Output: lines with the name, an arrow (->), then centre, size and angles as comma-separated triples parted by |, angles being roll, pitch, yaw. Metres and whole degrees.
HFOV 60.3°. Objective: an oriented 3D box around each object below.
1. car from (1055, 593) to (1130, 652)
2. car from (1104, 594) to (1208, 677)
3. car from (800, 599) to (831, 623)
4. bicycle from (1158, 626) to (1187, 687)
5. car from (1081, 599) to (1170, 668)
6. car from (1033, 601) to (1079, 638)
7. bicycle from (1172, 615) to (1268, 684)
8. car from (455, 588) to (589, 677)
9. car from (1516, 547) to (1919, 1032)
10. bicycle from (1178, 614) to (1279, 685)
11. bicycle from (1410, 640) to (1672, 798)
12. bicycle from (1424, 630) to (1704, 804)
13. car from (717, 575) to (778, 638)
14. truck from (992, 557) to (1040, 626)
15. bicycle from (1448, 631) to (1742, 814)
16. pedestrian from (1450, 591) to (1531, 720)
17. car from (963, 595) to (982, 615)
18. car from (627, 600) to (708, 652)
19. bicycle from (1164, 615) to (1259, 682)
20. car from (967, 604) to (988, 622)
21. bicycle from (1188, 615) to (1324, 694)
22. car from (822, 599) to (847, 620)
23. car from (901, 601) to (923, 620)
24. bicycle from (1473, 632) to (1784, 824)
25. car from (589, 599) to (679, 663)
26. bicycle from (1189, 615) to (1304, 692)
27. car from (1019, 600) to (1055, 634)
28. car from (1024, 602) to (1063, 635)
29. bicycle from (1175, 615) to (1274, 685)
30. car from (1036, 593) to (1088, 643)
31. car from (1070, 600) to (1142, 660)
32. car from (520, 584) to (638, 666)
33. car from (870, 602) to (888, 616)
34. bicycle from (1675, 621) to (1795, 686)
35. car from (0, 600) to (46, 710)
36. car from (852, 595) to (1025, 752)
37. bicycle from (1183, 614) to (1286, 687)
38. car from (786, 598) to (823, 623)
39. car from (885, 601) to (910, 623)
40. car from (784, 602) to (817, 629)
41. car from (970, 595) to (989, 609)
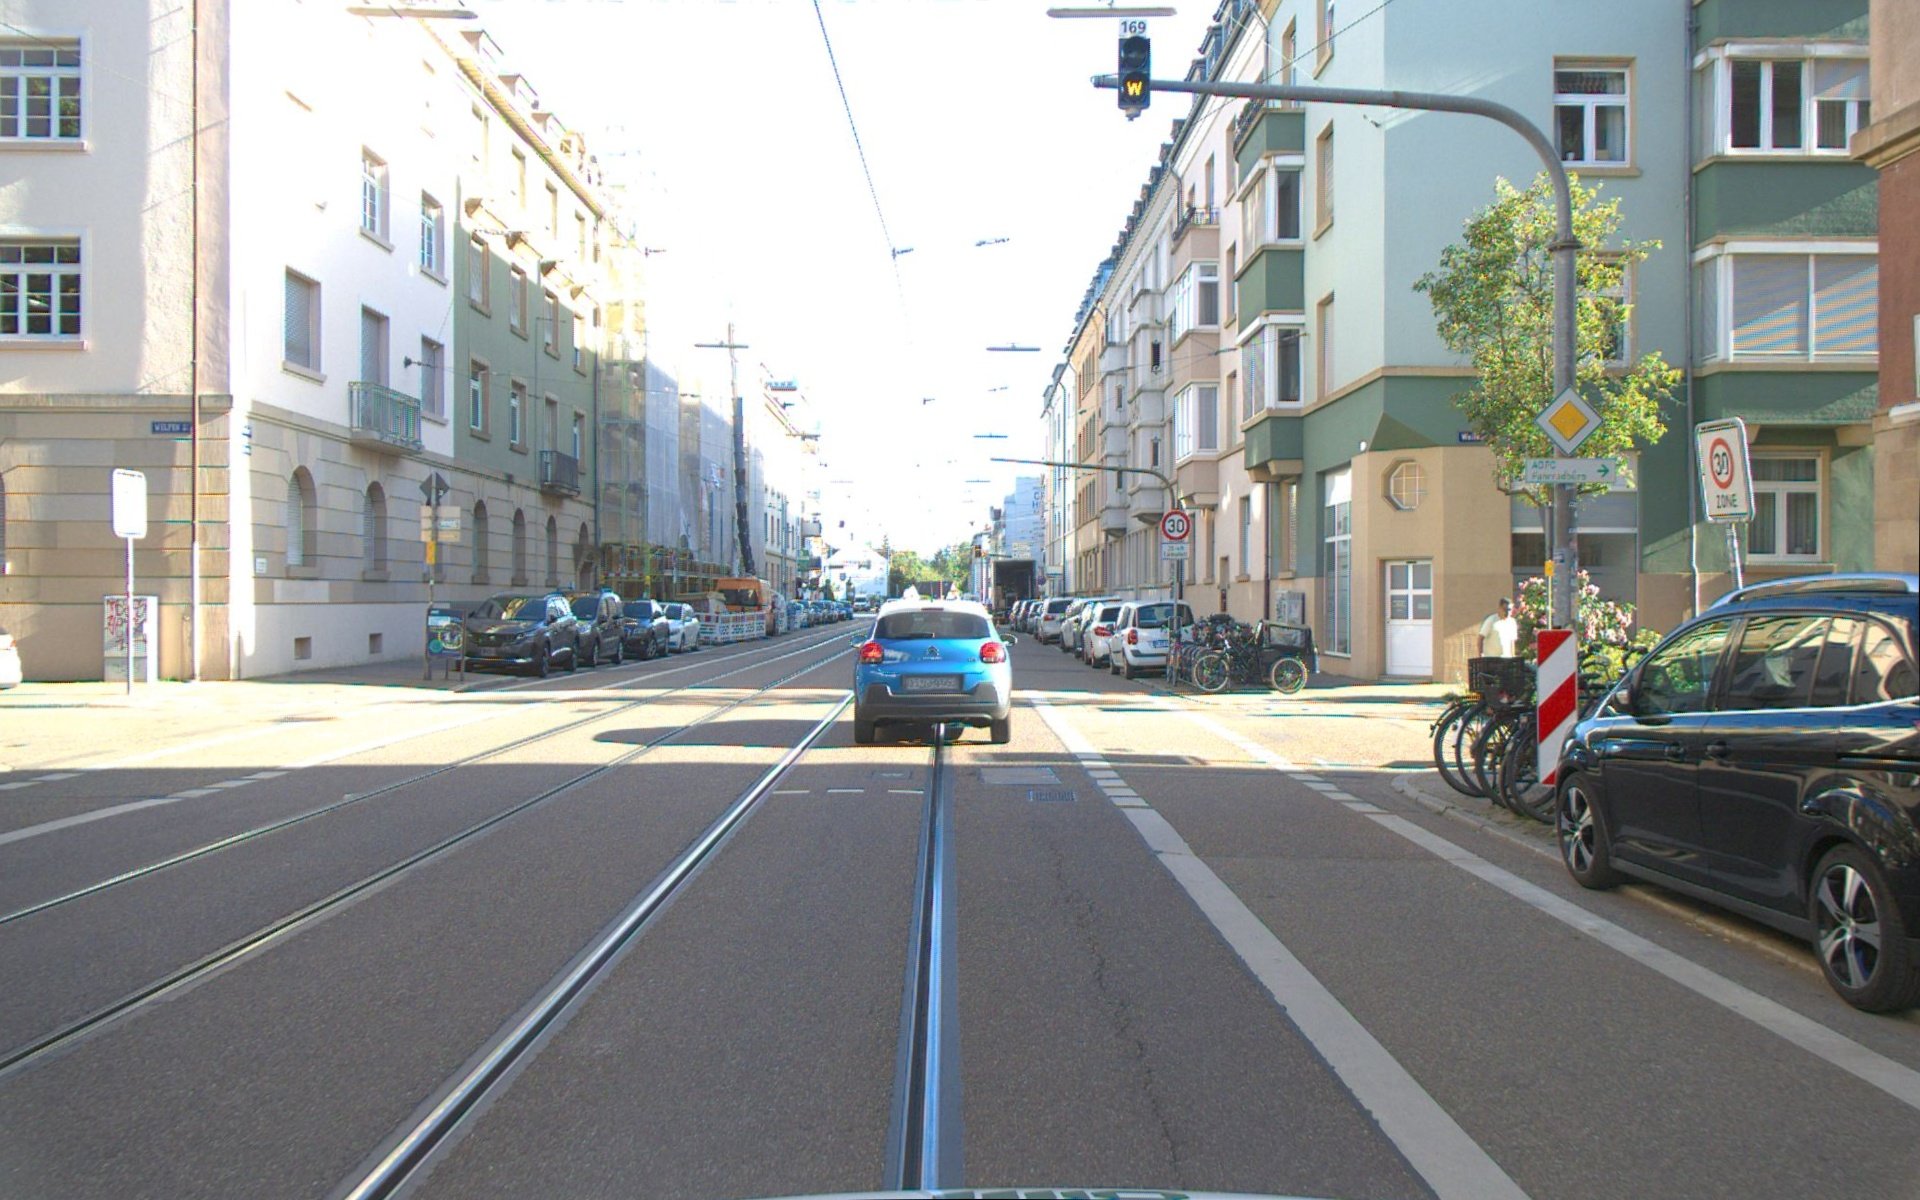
car -> 4.126, 0.687, 52.075 | 1.622, 1.782, 4.598 | 0, 0, -5
car -> 4.111, 0.708, 35.247 | 1.747, 1.660, 4.000 | 0, 0, 0
car -> -10.148, 0.749, 116.510 | 1.788, 1.660, 4.848 | 0, 0, 0
bicycle -> 3.887, 1.018, 30.367 | 0.345, 1.063, 1.728 | 0, 0, 1
car -> 4.032, 0.790, 40.846 | 1.747, 1.603, 4.326 | 0, 0, 0
car -> 4.036, 0.796, 69.996 | 1.687, 1.513, 4.221 | 0, 0, 0
bicycle -> 4.898, 0.930, 31.198 | 1.687, 1.174, 0.469 | -3, 0, 0
car -> -9.246, 0.645, 35.291 | 1.747, 1.720, 4.665 | 2, 0, -2
car -> 4.312, 0.645, 7.897 | 1.717, 1.766, 4.506 | -3, 0, 0
bicycle -> 4.848, 0.894, 29.897 | 1.687, 1.174, 0.469 | -3, 0, 0
bicycle -> 4.605, 0.935, 13.166 | 1.884, 1.181, 0.527 | -1, 0, 0
bicycle -> 4.572, 0.876, 12.586 | 1.919, 1.248, 0.527 | -1, 0, 0
car -> -8.907, 0.252, 69.654 | 2.101, 2.519, 4.978 | -1, 0, -2
truck -> 3.514, -0.513, 106.168 | 2.794, 4.154, 11.271 | 0, 0, 1
bicycle -> 4.595, 0.874, 12.025 | 1.919, 1.248, 0.527 | -1, 0, 0
pedestrian -> 7.039, 0.732, 21.970 | 0.718, 1.662, 0.700 | 3, -2, -17
car -> 1.472, 0.620, 198.576 | 2.174, 2.324, 4.083 | 0, 0, 0
car -> -9.255, 0.792, 52.675 | 1.683, 1.529, 4.388 | 2, 0, 1
bicycle -> 4.830, 0.933, 31.824 | 1.687, 1.174, 0.469 | -3, 0, 0
car -> 1.430, 1.107, 139.427 | 1.729, 1.513, 4.031 | 0, 0, 0
bicycle -> 4.887, 0.889, 27.404 | 2.044, 1.174, 0.848 | -3, 0, 0
car -> -10.321, 0.776, 136.580 | 1.789, 1.660, 3.904 | 0, 0, -1
car -> -4.245, 0.912, 147.821 | 1.862, 1.660, 4.266 | 0, 0, 0
bicycle -> 4.605, 0.872, 11.454 | 1.919, 1.248, 0.527 | -1, 0, 0
car -> -9.116, 0.820, 46.585 | 1.747, 1.655, 4.607 | 2, 0, -2
bicycle -> 4.861, 0.901, 28.112 | 1.805, 1.174, 0.469 | -3, 0, 0
car -> 3.911, 0.856, 84.446 | 1.630, 1.676, 4.221 | 0, 0, 0
car -> 4.000, 0.870, 79.602 | 1.630, 1.546, 4.221 | 0, 0, 0
bicycle -> 4.883, 0.913, 30.577 | 1.687, 1.174, 0.469 | -3, 0, 0
car -> 3.926, 0.689, 64.214 | 1.695, 1.859, 4.686 | 0, 0, 0
car -> 4.034, 0.813, 46.319 | 1.621, 1.594, 4.338 | 0, 0, 0
car -> -9.300, 0.582, 40.697 | 1.746, 1.848, 4.528 | 2, 0, 1
car -> -9.447, 1.021, 192.775 | 1.862, 1.660, 4.266 | 0, 0, 0
bicycle -> 13.118, 0.908, 28.003 | 1.857, 1.082, 0.455 | 0, 0, -3
car -> -15.362, 0.767, 23.122 | 4.131, 1.490, 1.782 | 0, 1, -1
car -> -0.220, 0.744, 18.736 | 1.699, 1.534, 3.992 | 2, 0, 0
bicycle -> 4.869, 0.895, 29.349 | 1.687, 1.174, 0.469 | -3, 0, 0
car -> -10.395, 0.684, 110.733 | 2.101, 1.650, 3.999 | -1, 0, -1
car -> -4.891, 0.915, 130.244 | 1.788, 1.660, 4.490 | 0, 0, 0
car -> -9.895, 0.941, 102.804 | 1.679, 1.622, 4.266 | 0, 0, 0
car -> 2.172, 0.234, 185.099 | 2.136, 1.513, 4.159 | 0, 0, 0
